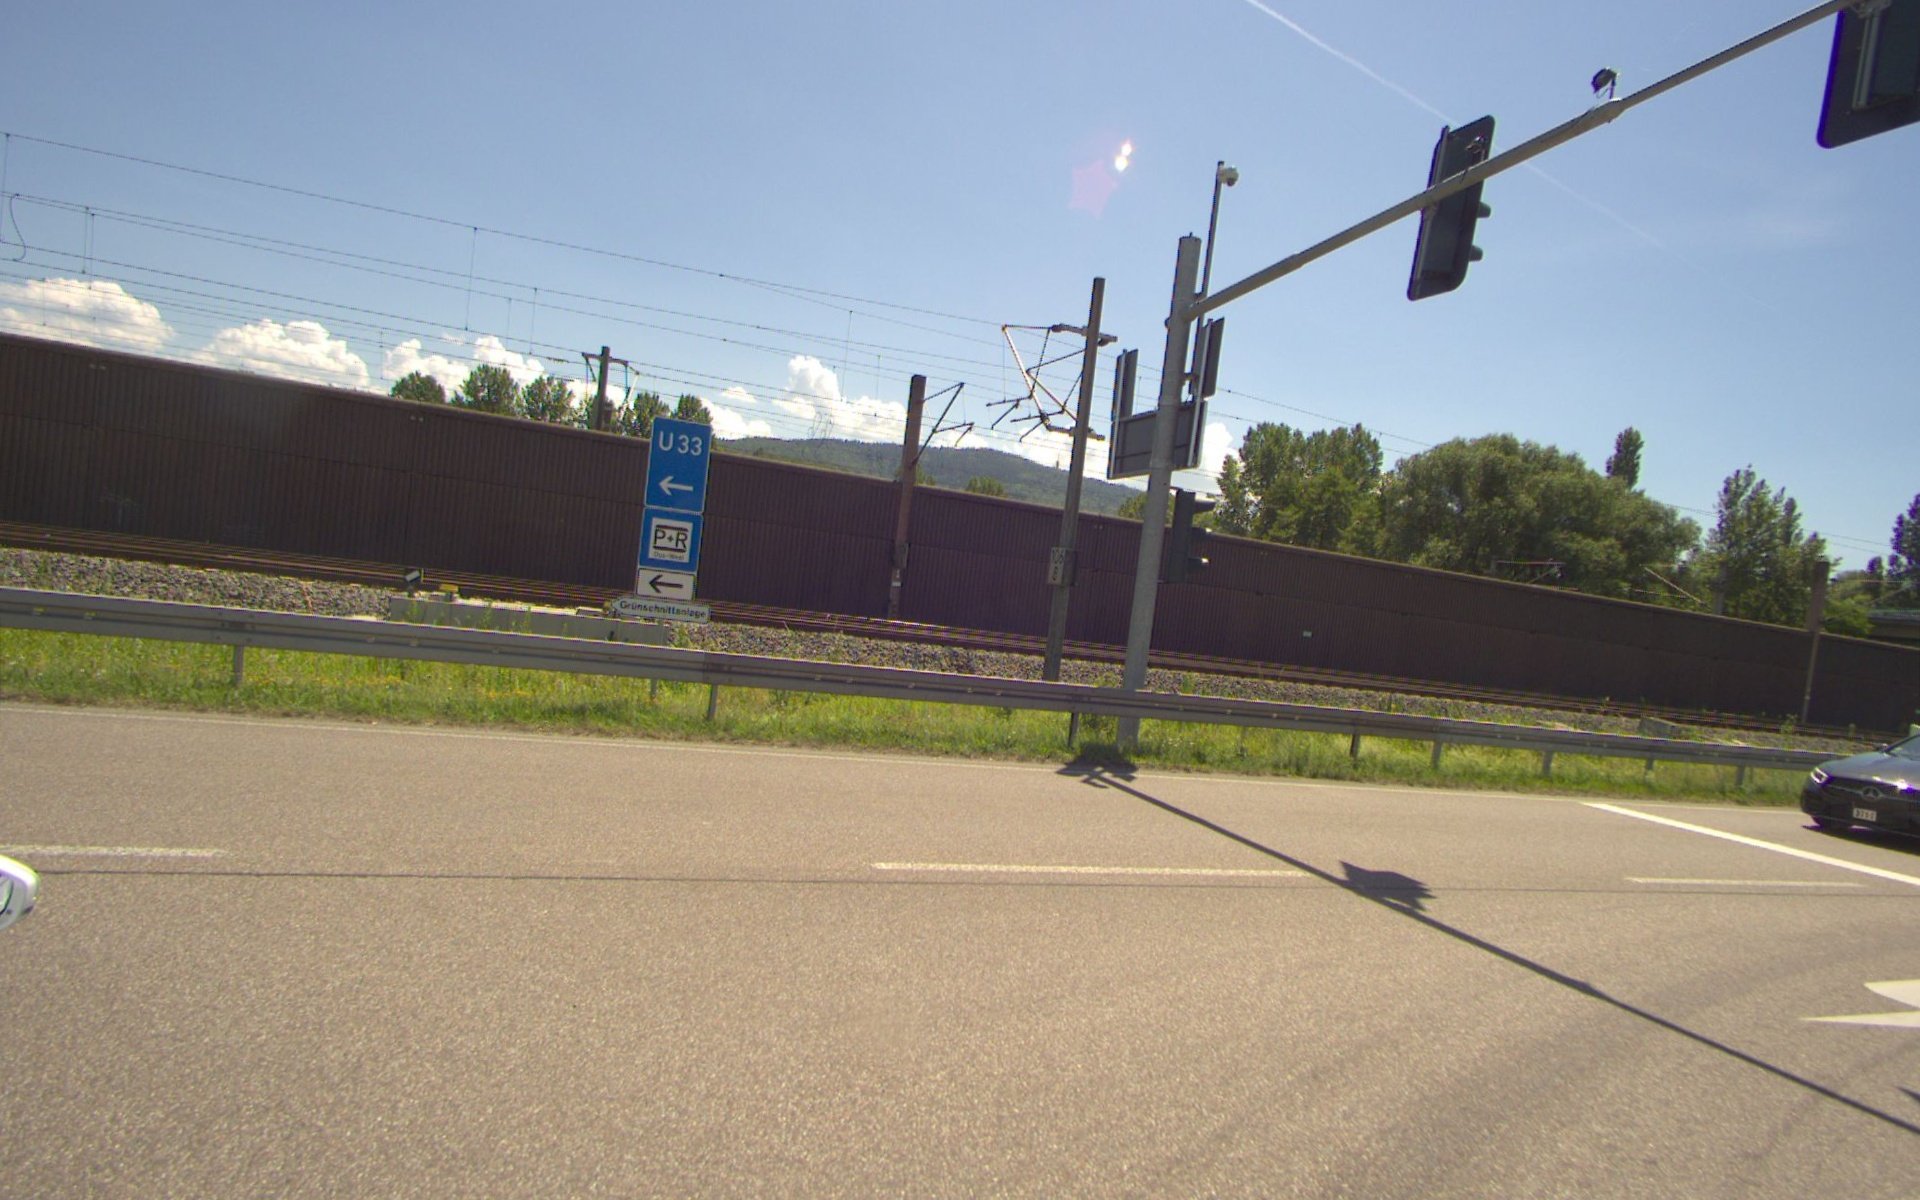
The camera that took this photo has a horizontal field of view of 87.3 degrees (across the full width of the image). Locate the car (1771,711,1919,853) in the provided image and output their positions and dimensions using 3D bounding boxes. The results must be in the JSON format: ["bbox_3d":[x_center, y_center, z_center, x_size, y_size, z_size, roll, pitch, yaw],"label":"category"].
[{"bbox_3d":[12.567,2.349,12.332,4.582,1.381,1.905,7,0,-20],"label":"car"}]
